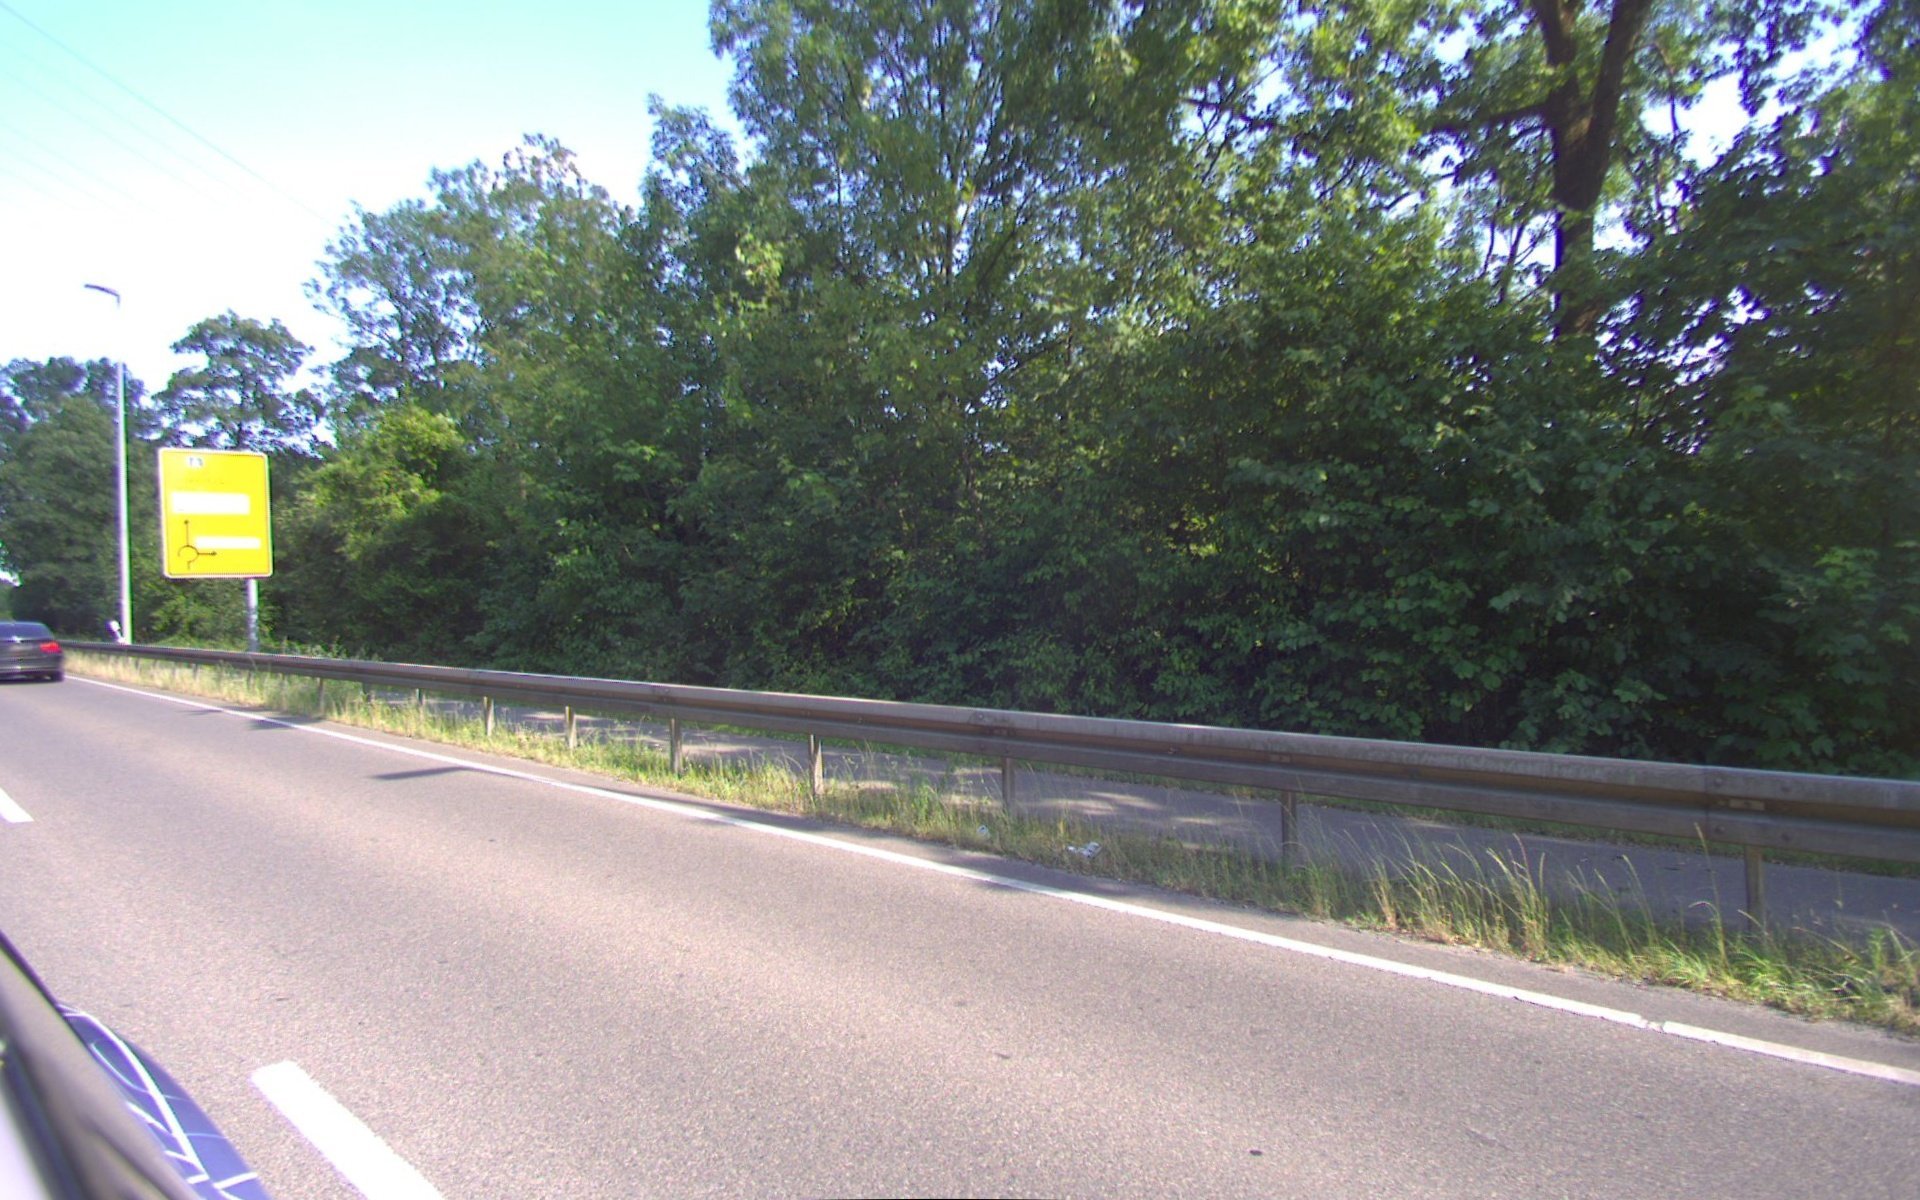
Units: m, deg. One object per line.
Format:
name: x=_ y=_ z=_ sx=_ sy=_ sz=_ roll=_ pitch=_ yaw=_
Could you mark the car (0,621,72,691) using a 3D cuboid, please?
car: x=-21.242 y=1.199 z=22.568 sx=4.140 sy=1.431 sz=1.674 roll=-1 pitch=-1 yaw=41
